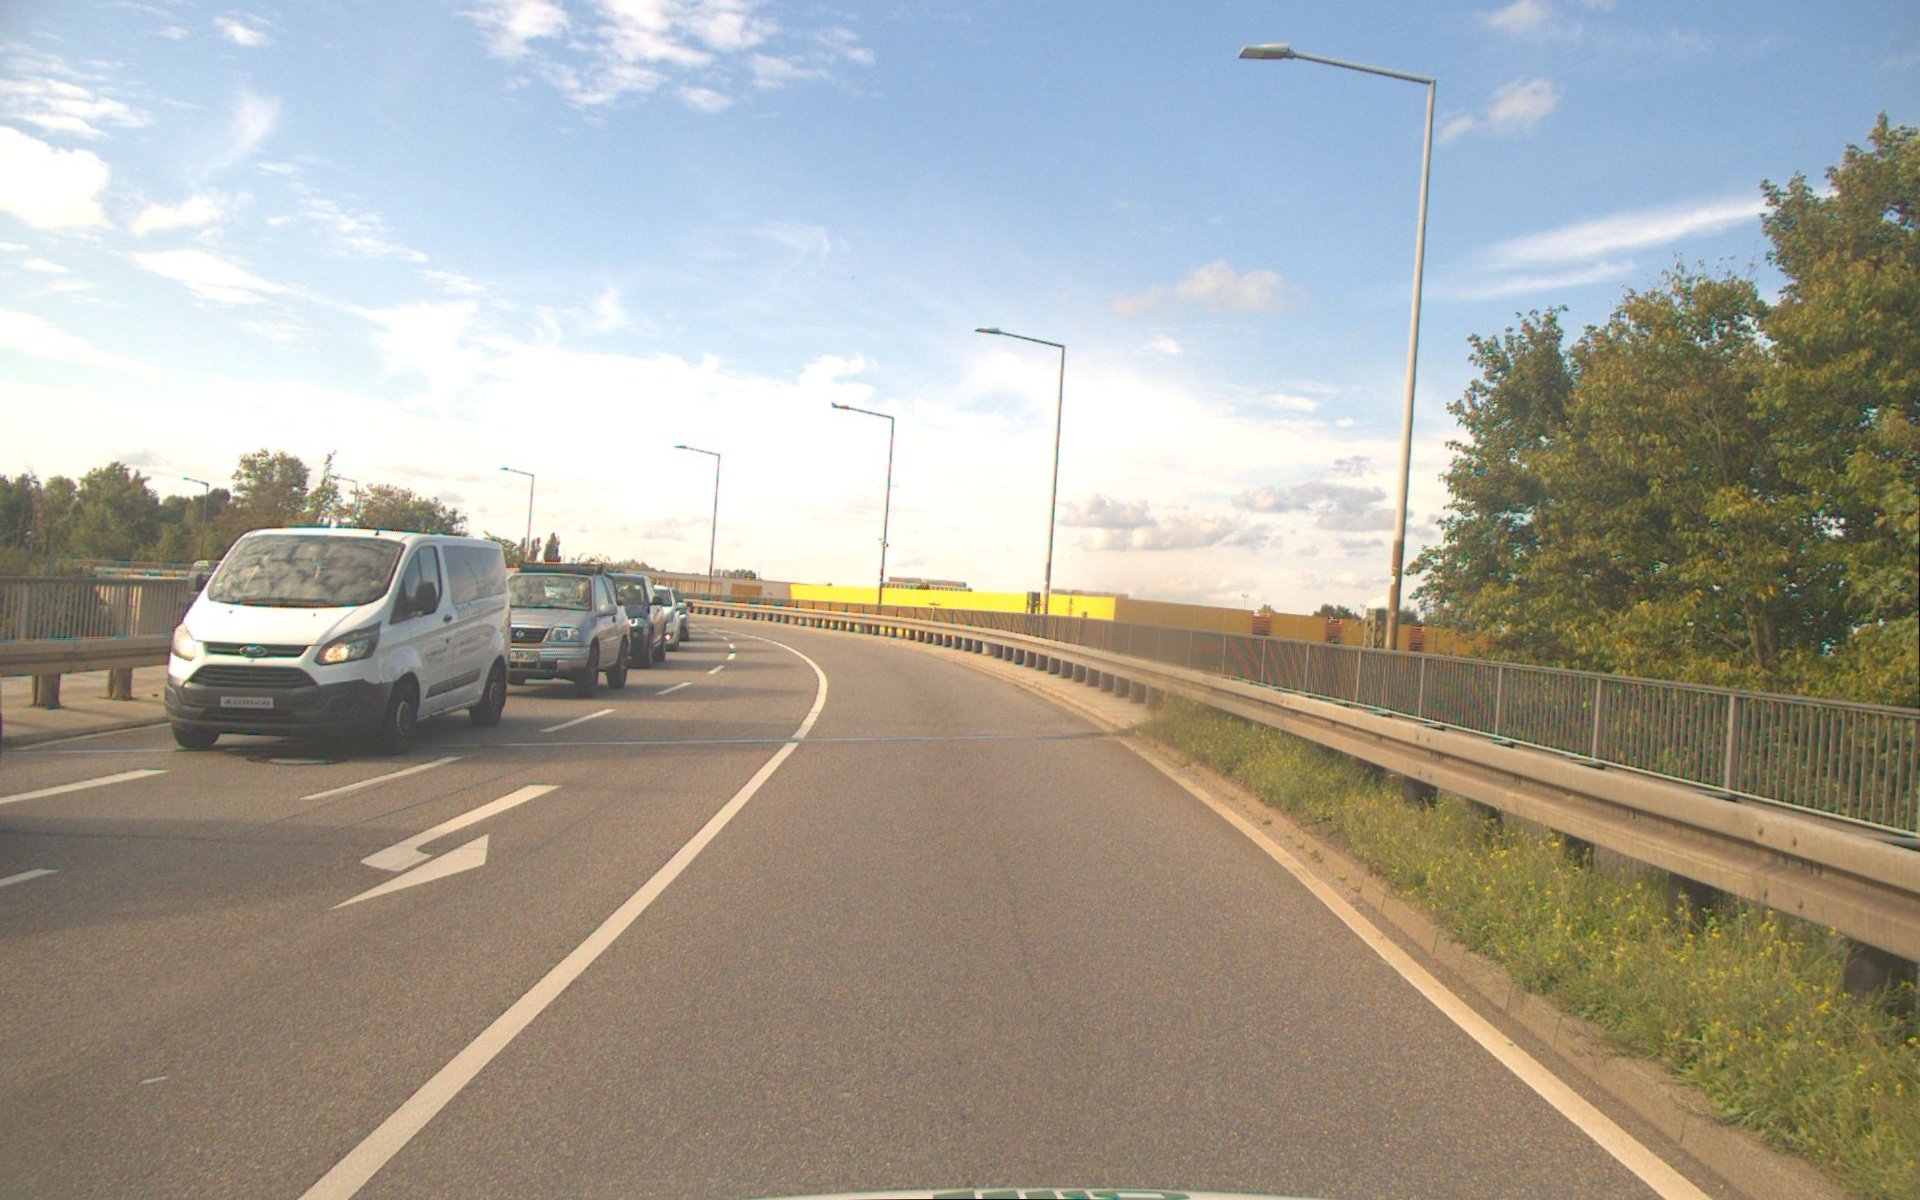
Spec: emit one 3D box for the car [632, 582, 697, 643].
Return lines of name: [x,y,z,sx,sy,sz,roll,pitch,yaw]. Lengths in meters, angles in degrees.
car: [-8.198,0.316,45.915,1.652,1.572,3.913,2,0,-10]

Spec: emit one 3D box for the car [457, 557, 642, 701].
car: [-5.575,0.351,22.897,1.738,1.776,3.835,2,0,-3]

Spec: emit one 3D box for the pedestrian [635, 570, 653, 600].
pedestrian: [-17.858,-0.855,93.524,0.670,1.690,0.856,2,0,-33]

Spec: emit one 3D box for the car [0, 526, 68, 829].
car: [-6.235,0.416,7.587,1.710,1.683,4.454,2,0,2]

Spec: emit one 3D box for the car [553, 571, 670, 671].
car: [-6.498,0.347,31.283,1.835,1.695,4.621,2,0,-8]

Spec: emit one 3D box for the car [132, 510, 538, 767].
car: [-5.655,0.289,15.793,1.945,1.998,5.047,2,0,-1]

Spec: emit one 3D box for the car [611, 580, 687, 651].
car: [-7.411,0.333,39.486,1.652,1.572,3.913,2,0,-10]

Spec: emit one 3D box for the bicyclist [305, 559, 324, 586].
bicyclist: [-42.028,-1.796,107.658,0.763,1.689,1.102,2,0,-45]
